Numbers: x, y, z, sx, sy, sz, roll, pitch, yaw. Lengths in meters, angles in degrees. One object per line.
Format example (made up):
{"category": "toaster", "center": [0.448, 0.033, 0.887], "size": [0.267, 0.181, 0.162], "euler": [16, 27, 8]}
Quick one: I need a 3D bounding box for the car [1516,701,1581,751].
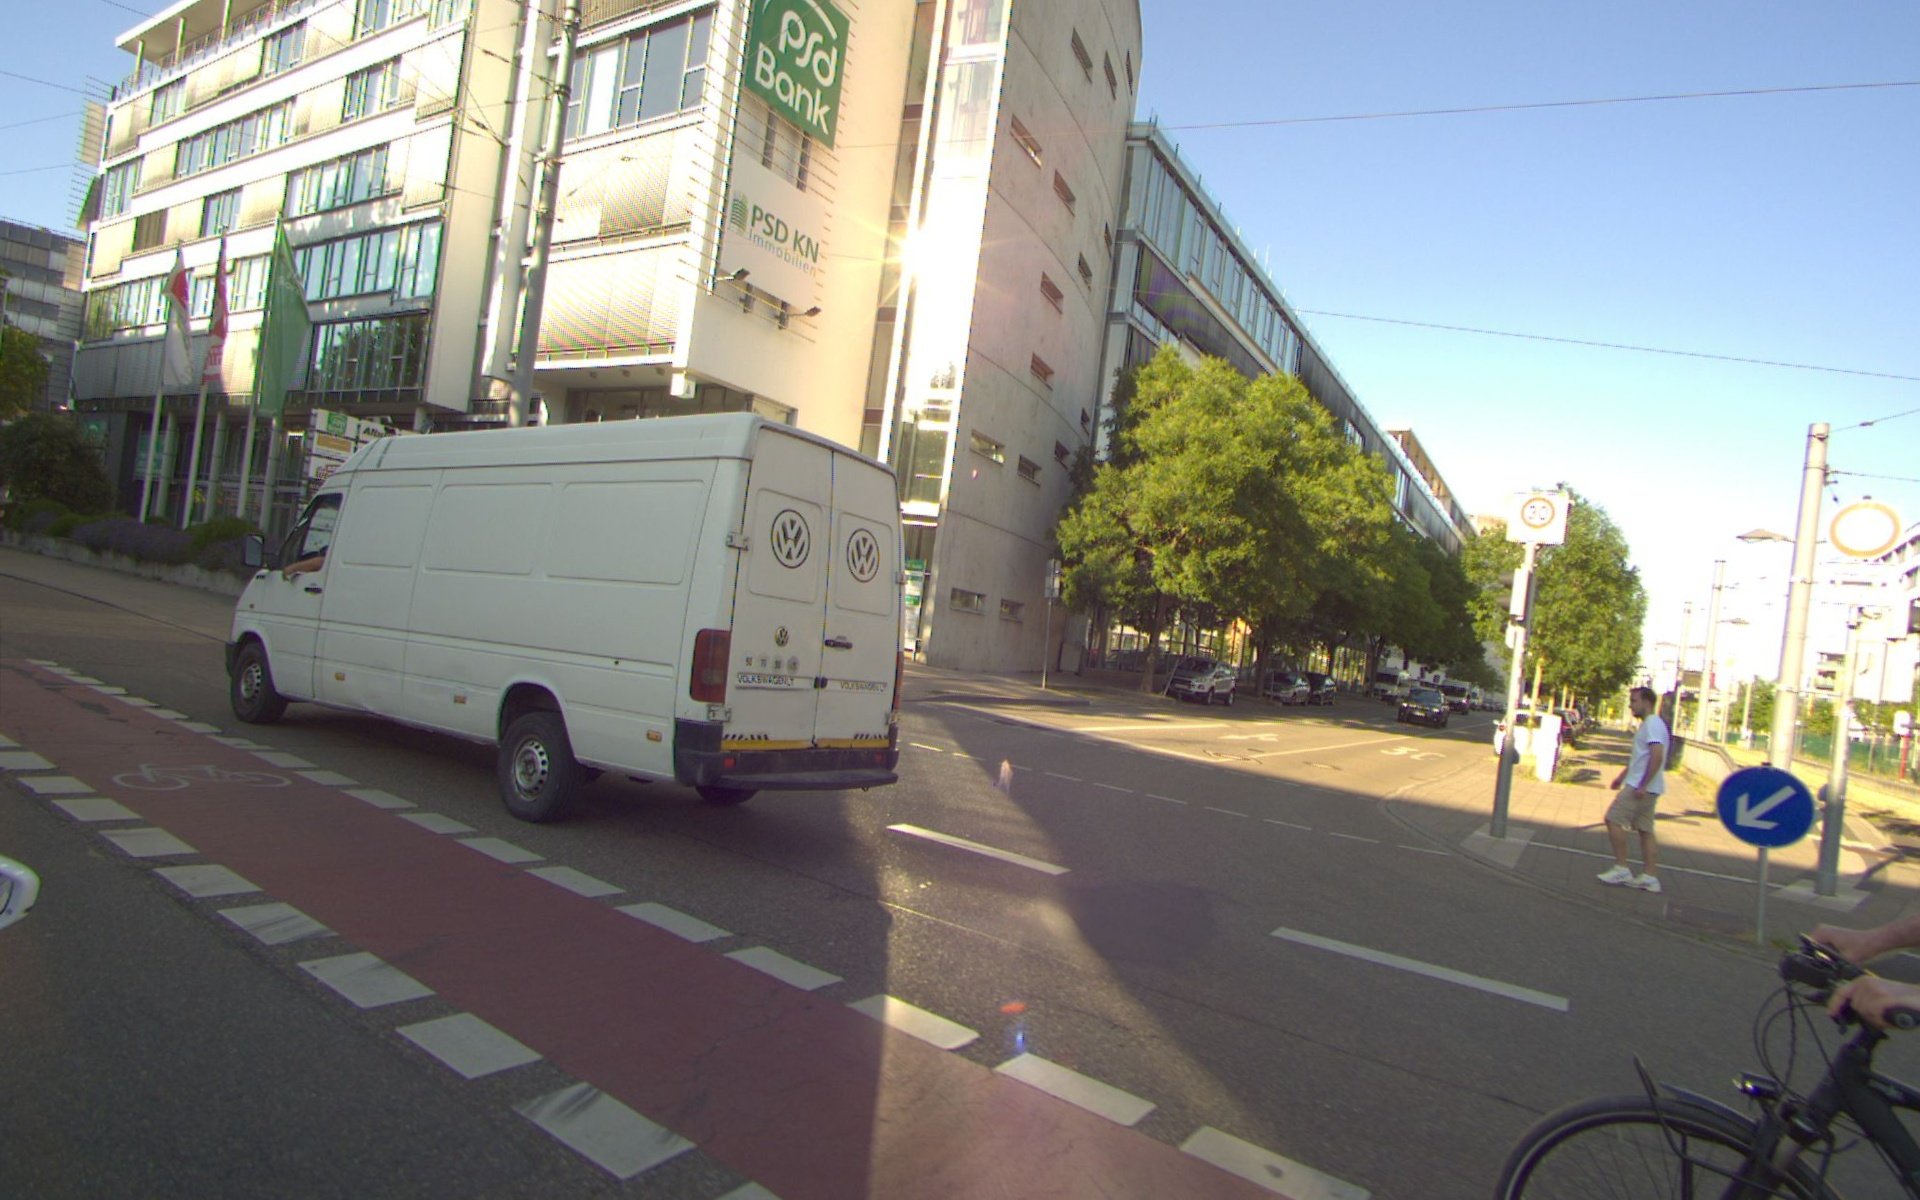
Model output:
{"category": "car", "center": [23.622, 5.034, 40.328], "size": [1.968, 1.620, 3.993], "euler": [7, -2, 33]}

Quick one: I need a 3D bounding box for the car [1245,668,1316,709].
{"category": "car", "center": [14.979, 4.161, 46.920], "size": [1.955, 1.512, 4.395], "euler": [7, -2, 33]}

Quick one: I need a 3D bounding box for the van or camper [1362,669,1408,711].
{"category": "van or camper", "center": [29.380, 6.255, 69.429], "size": [1.955, 2.533, 4.394], "euler": [7, -1, 33]}

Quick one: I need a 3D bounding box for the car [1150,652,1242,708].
{"category": "car", "center": [8.785, 2.995, 37.258], "size": [1.955, 1.715, 3.993], "euler": [7, -2, 33]}

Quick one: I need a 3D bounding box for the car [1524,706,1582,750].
{"category": "car", "center": [26.952, 5.805, 45.685], "size": [1.968, 1.620, 3.993], "euler": [7, -2, 33]}

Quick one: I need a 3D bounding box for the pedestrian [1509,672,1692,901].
{"category": "pedestrian", "center": [5.997, 1.689, 9.423], "size": [1.198, 1.845, 0.777], "euler": [7, -1, 39]}

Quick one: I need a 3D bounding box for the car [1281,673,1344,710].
{"category": "car", "center": [18.228, 4.735, 51.926], "size": [1.955, 1.512, 4.395], "euler": [7, -2, 33]}

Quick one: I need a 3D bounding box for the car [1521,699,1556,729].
{"category": "car", "center": [44.407, 8.772, 77.184], "size": [1.968, 1.931, 3.995], "euler": [7, -3, 34]}

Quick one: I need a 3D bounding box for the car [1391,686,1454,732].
{"category": "car", "center": [21.452, 5.041, 46.567], "size": [1.955, 1.715, 3.993], "euler": [9, -1, 33]}

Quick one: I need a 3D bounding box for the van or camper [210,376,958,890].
{"category": "van or camper", "center": [-3.280, -0.013, 7.894], "size": [6.204, 2.747, 1.972], "euler": [7, -2, 34]}

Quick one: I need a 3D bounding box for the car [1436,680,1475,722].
{"category": "car", "center": [37.802, 7.756, 76.715], "size": [2.021, 2.703, 5.016], "euler": [7, -3, 31]}

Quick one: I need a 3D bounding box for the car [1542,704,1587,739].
{"category": "car", "center": [34.675, 6.964, 57.686], "size": [1.968, 1.620, 3.993], "euler": [7, -2, 33]}

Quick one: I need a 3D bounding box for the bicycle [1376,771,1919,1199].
{"category": "bicycle", "center": [1.884, 1.152, 1.835], "size": [1.937, 1.296, 0.650], "euler": [7, -1, 39]}

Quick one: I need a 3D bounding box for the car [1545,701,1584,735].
{"category": "car", "center": [40.513, 7.880, 67.366], "size": [1.968, 1.944, 3.993], "euler": [7, -2, 33]}

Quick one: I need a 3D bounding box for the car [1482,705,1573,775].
{"category": "car", "center": [16.804, 4.085, 29.703], "size": [1.968, 1.631, 3.993], "euler": [7, -2, 33]}

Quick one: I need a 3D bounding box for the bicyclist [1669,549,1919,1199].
{"category": "bicyclist", "center": [1.993, 0.791, 1.805], "size": [1.073, 1.622, 0.650], "euler": [7, -1, 39]}

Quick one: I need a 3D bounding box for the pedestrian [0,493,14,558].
{"category": "pedestrian", "center": [-25.771, -2.023, 26.735], "size": [0.641, 1.700, 0.647], "euler": [7, -1, 36]}
